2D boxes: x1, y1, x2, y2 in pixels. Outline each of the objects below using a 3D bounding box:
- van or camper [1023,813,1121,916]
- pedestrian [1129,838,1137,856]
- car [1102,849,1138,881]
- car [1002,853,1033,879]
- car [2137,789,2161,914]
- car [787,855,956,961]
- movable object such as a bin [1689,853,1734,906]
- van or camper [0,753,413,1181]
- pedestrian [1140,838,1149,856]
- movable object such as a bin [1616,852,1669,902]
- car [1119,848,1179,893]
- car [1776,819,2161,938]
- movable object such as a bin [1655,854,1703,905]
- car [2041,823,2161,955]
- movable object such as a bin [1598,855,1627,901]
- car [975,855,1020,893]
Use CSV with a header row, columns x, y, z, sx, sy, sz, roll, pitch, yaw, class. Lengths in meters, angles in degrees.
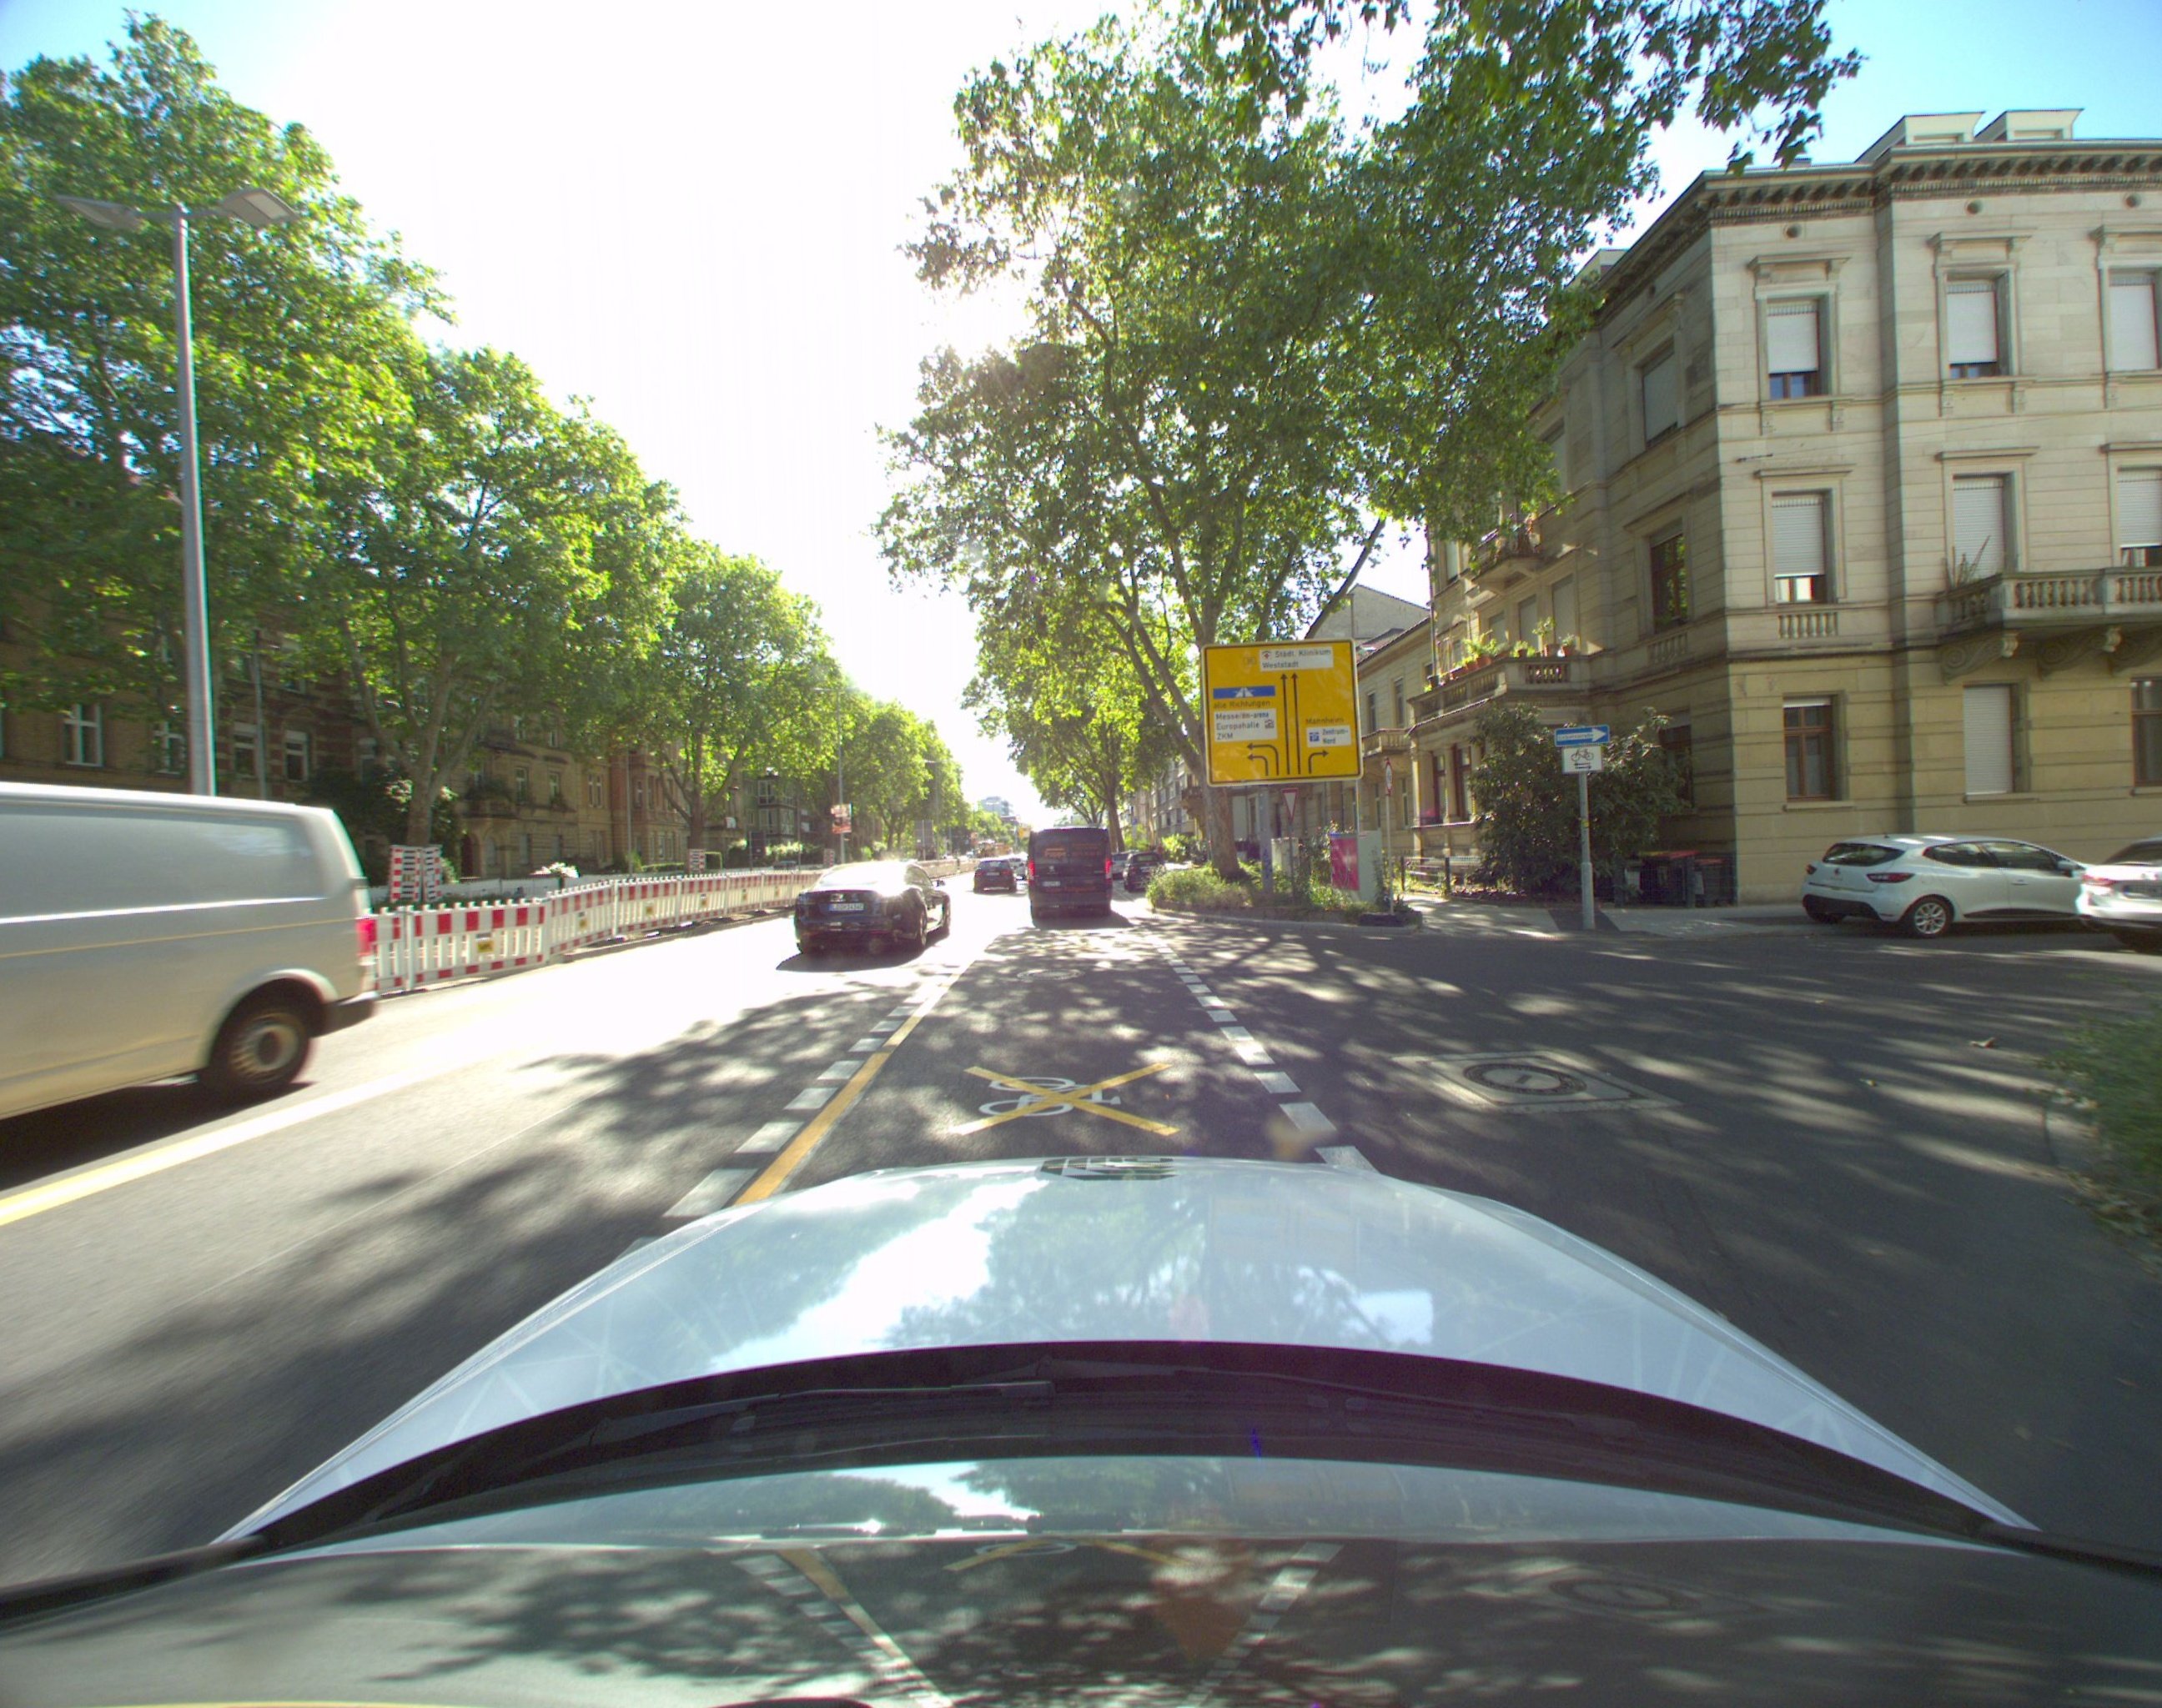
x,y,z,sx,sy,sz,roll,pitch,yaw,class
-0.298,0.244,21.277,2.240,2.346,4.533,-2,0,-3,van or camper
6.881,-0.929,107.352,1.054,2.346,0.816,-1,-1,1,pedestrian
2.110,0.585,44.774,1.767,1.568,4.000,-3,0,1,car
-3.783,0.715,49.087,1.615,1.486,3.732,-1,0,-1,car
19.660,-0.122,12.345,4.511,2.013,2.029,-2,0,2,car
-3.408,0.790,14.173,1.832,1.483,4.474,-2,0,-1,car
12.055,0.486,15.573,0.517,0.970,0.398,-3,0,1,movable object such as a bin
-6.082,0.555,3.557,1.988,2.013,5.325,-2,0,-2,van or camper
8.330,-0.958,106.820,1.054,2.346,0.816,-1,-1,1,pedestrian
11.548,0.469,16.769,0.685,0.970,0.548,-3,0,1,movable object such as a bin
2.580,0.606,31.893,1.769,1.568,3.995,-2,0,-3,car
13.373,0.316,12.458,3.916,1.561,1.873,-2,2,0,car
11.883,0.498,16.197,0.517,0.970,0.548,-3,0,1,movable object such as a bin
14.242,0.309,9.367,4.027,1.486,1.841,-3,-2,3,car
11.358,0.509,17.410,0.342,0.970,0.382,-3,0,1,movable object such as a bin
-3.532,0.820,34.968,1.615,1.486,3.732,-1,0,-1,car
